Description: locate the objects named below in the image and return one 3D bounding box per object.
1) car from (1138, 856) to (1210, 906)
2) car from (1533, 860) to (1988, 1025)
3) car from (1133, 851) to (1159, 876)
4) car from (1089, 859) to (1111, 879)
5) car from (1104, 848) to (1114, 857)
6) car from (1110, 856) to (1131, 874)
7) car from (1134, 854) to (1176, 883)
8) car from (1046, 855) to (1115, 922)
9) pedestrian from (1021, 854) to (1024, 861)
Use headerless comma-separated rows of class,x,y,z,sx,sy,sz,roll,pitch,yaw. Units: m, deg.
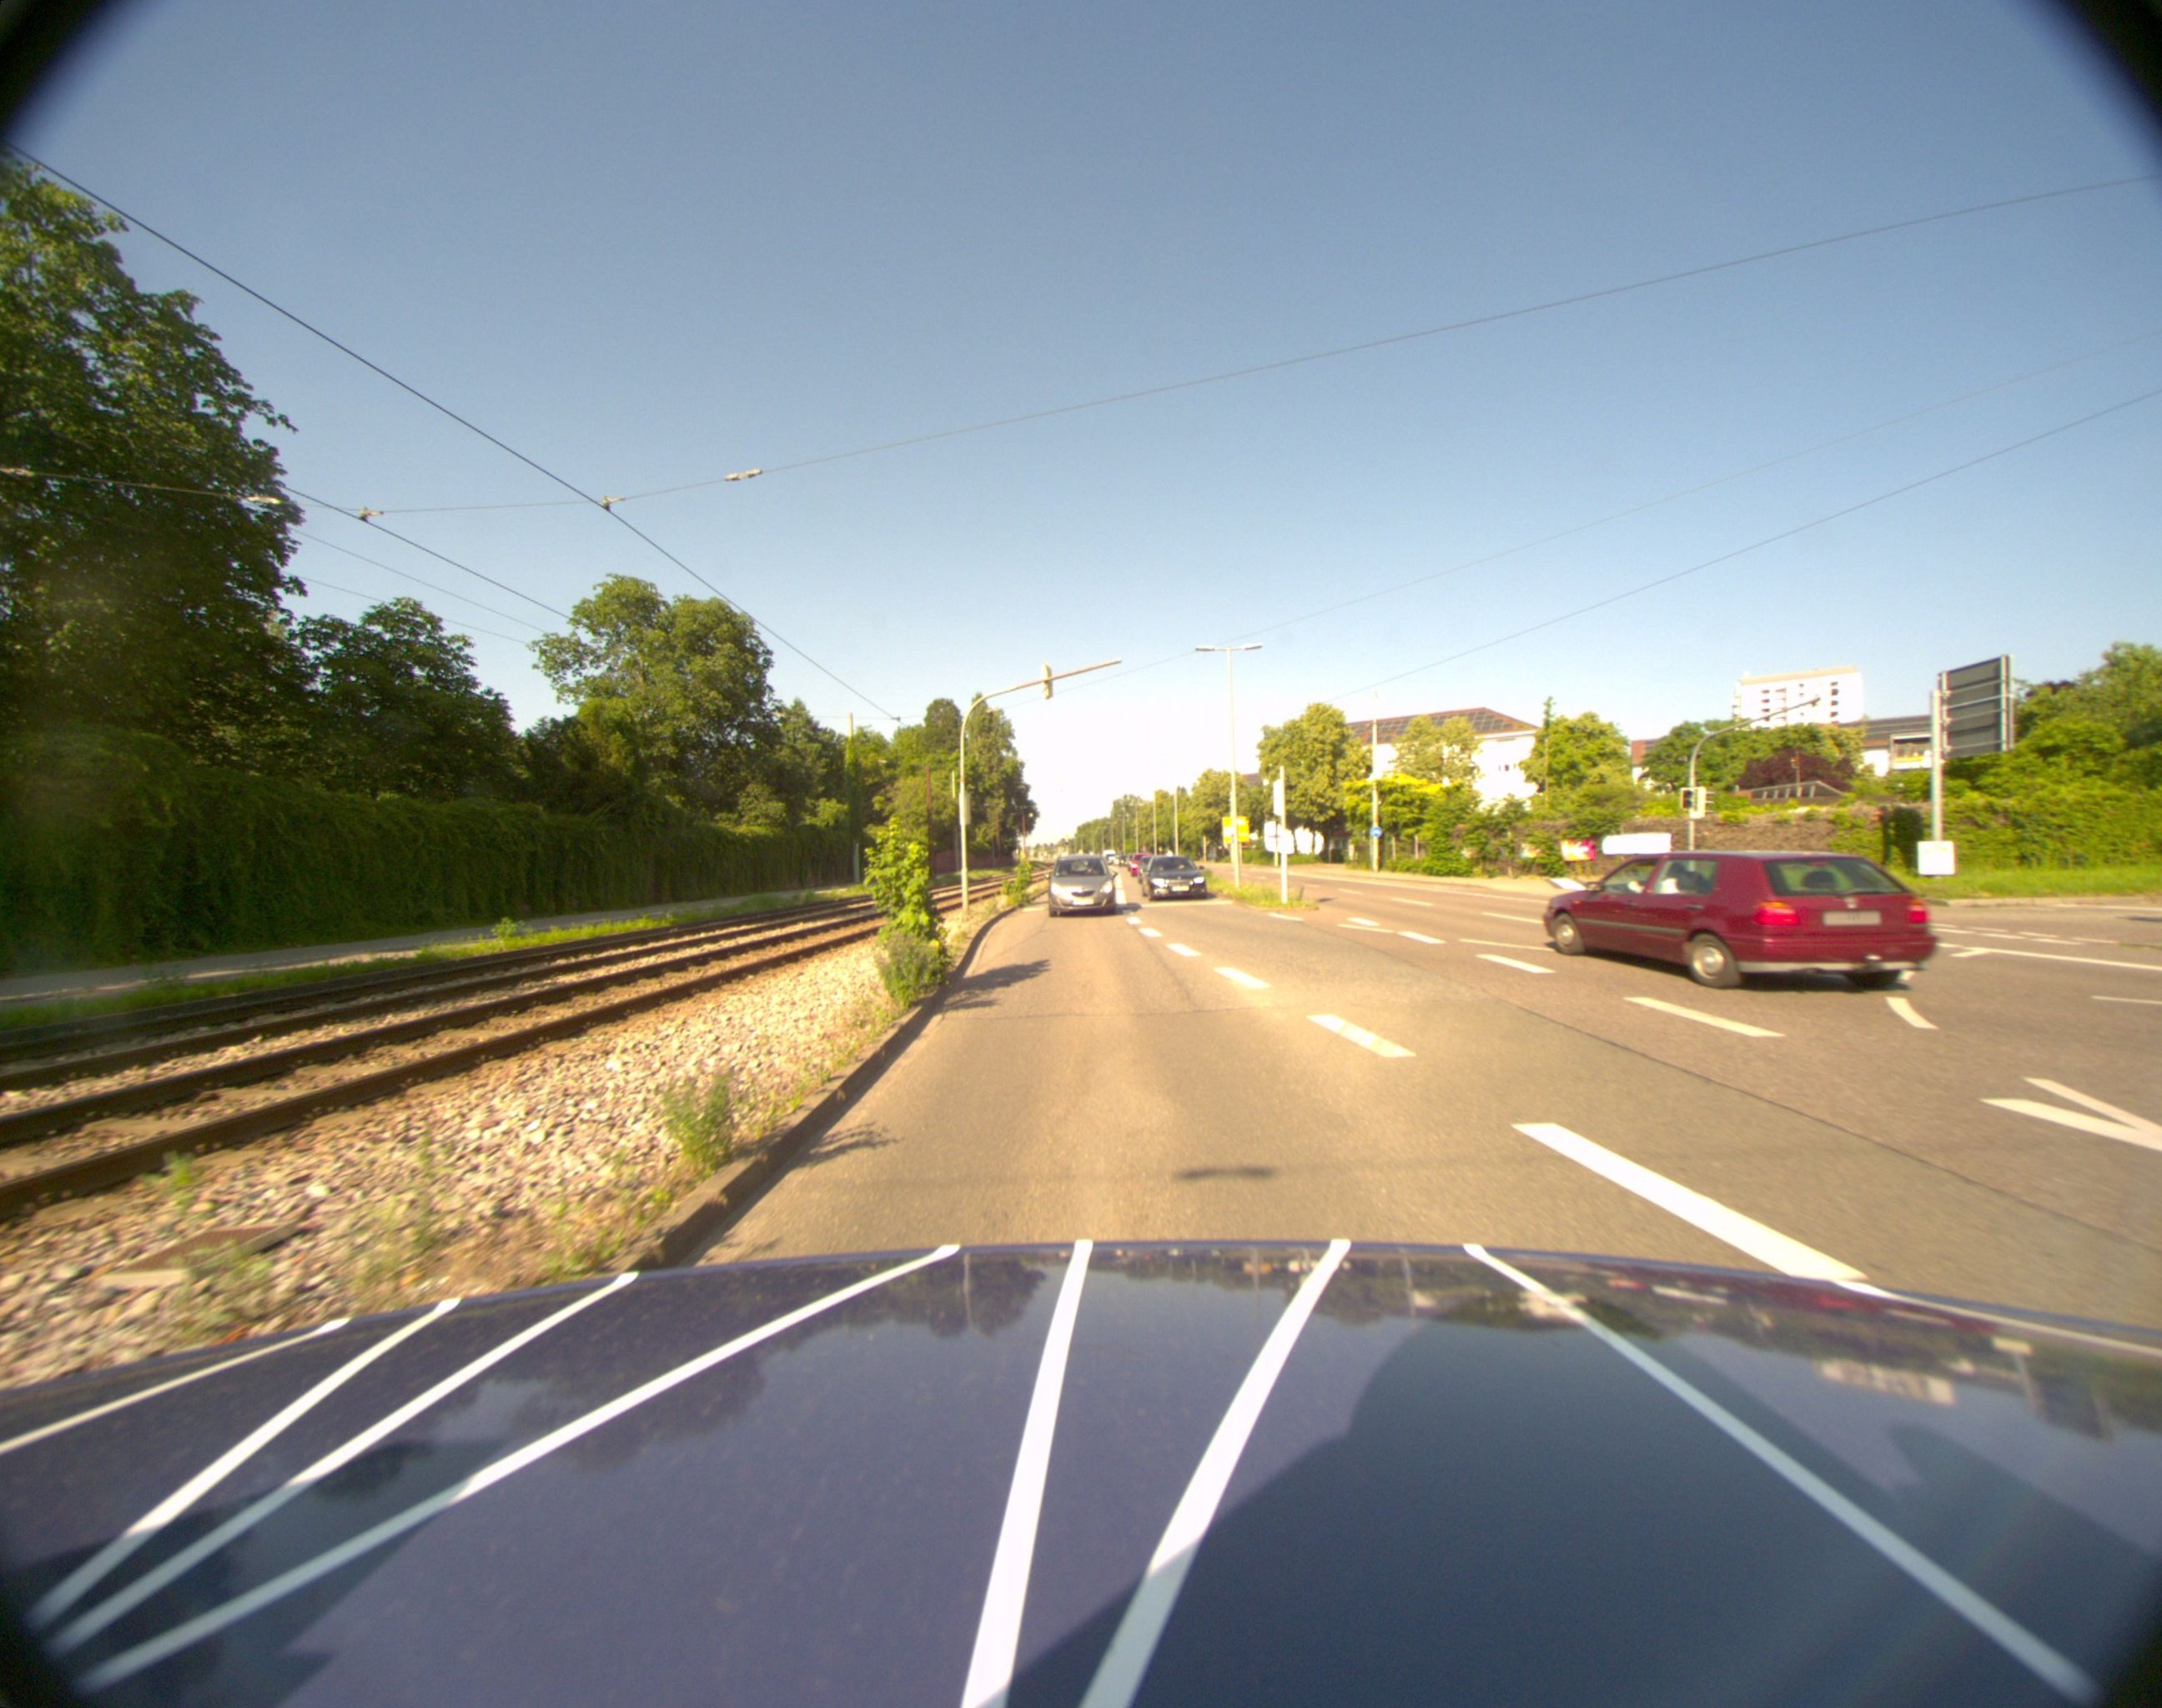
car,3.082,0.845,26.020,1.765,1.477,4.644,-3,0,-1
car,7.161,0.792,8.707,1.656,1.387,4.135,-1,0,3
car,4.528,0.651,53.487,1.692,1.573,3.834,-2,0,3
car,1.564,1.181,62.735,1.710,1.513,3.833,-2,0,0
car,5.139,-0.276,140.894,1.710,1.513,3.833,-2,0,2
car,3.703,1.025,71.315,1.710,1.513,3.833,-2,0,0
car,3.896,0.758,40.521,1.693,1.420,3.832,-2,0,-2
car,0.068,0.852,20.554,1.650,1.581,3.834,-2,0,2
pedestrian,-13.911,0.781,180.041,0.501,1.706,0.885,-1,0,3
